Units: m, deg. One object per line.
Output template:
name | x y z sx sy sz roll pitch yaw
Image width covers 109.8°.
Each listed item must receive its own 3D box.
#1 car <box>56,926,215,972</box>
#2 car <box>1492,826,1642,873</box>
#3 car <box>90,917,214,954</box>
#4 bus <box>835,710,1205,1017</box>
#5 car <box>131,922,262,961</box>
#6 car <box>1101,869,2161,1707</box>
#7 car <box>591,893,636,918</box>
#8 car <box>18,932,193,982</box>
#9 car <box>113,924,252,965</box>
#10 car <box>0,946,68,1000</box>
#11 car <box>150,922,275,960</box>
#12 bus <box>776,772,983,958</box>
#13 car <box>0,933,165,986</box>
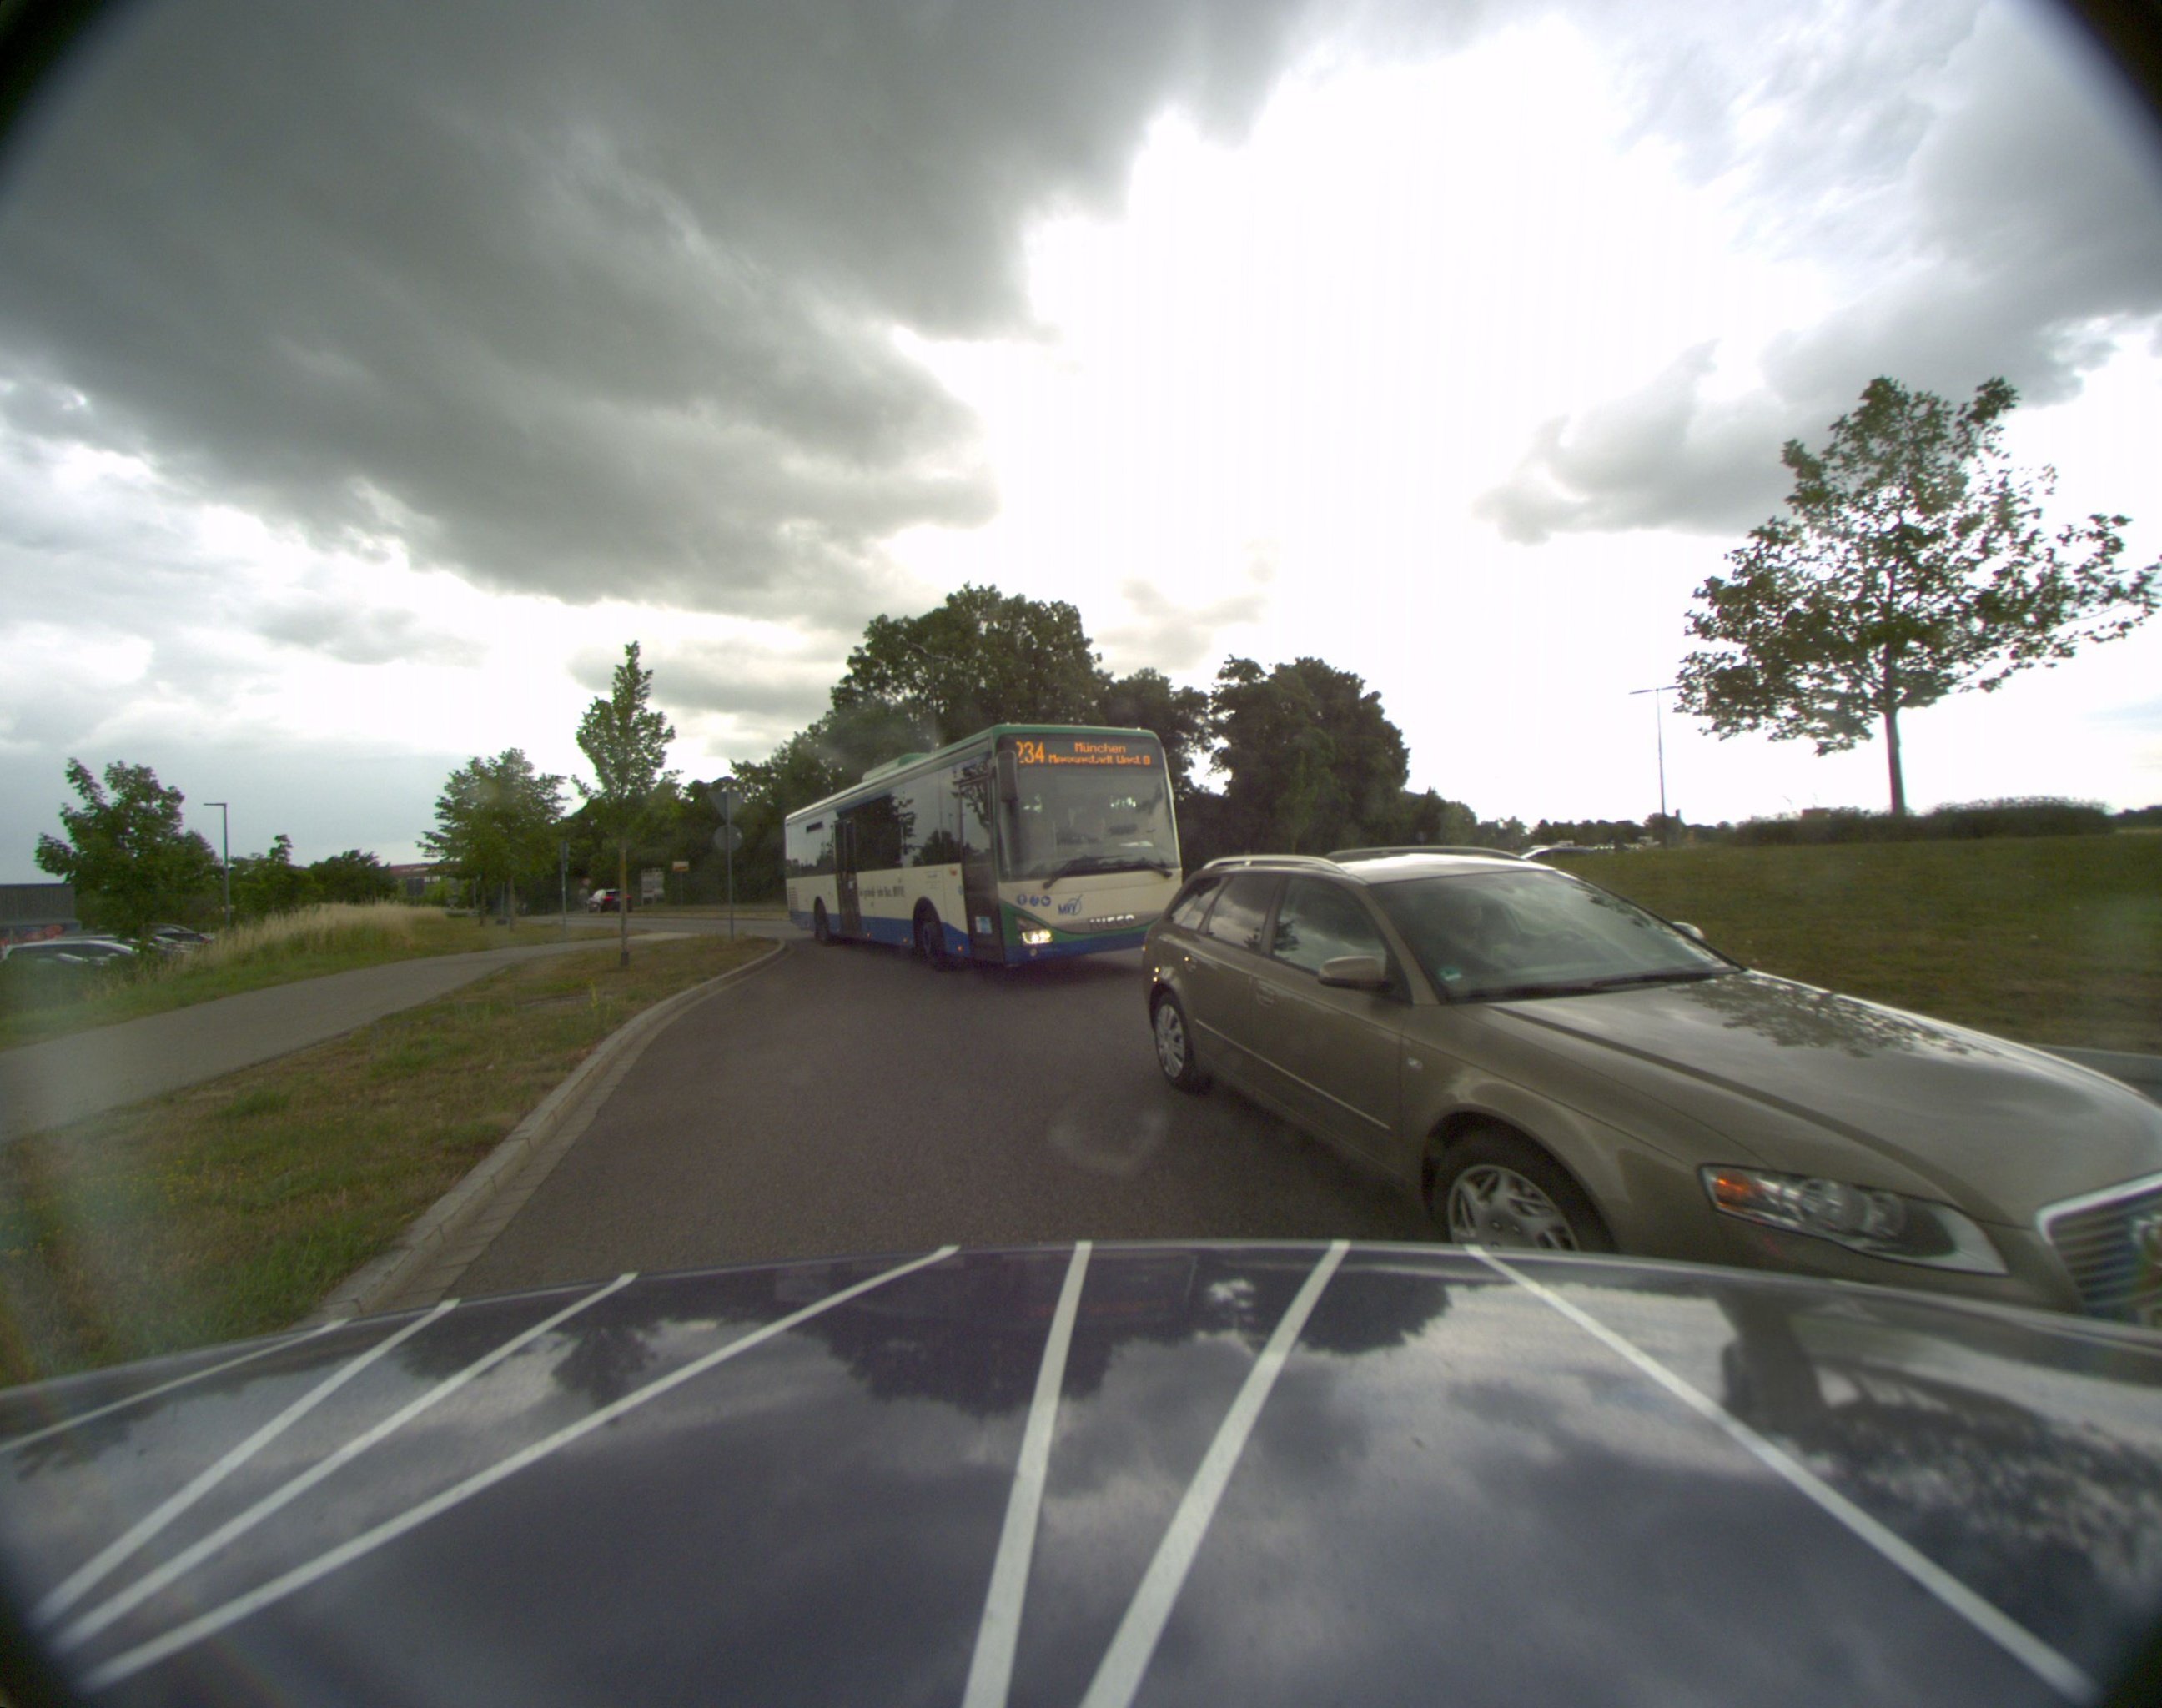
car | -40.388 4.034 32.602 3.896 1.455 1.693 -2 0 -34
car | 16.866 -0.125 26.596 4.074 1.422 1.765 -2 0 18
car | -48.357 4.219 39.674 1.879 1.435 4.008 -3 0 41
bus | -1.402 0.030 11.403 2.528 3.240 6.533 -6 3 -32
car | -43.658 4.294 37.629 3.896 1.455 1.693 -2 0 -34
car | 1.674 0.860 3.506 1.784 1.456 4.535 -3 -1 -16
car | -31.310 3.421 50.820 3.572 1.496 1.647 -3 0 43
car | -38.554 4.040 30.195 3.896 1.455 1.693 -2 0 -34
car | -42.251 4.222 35.862 3.896 1.455 1.693 -2 0 -34
car | -34.697 3.816 23.351 3.896 1.455 1.693 -2 0 -34
car | -44.514 4.428 39.090 3.896 1.455 1.693 -2 0 -34
bus | -4.578 0.153 16.457 2.528 3.240 5.447 -6 3 -32
car | -36.718 3.829 27.707 3.896 1.455 1.693 -2 0 -34
